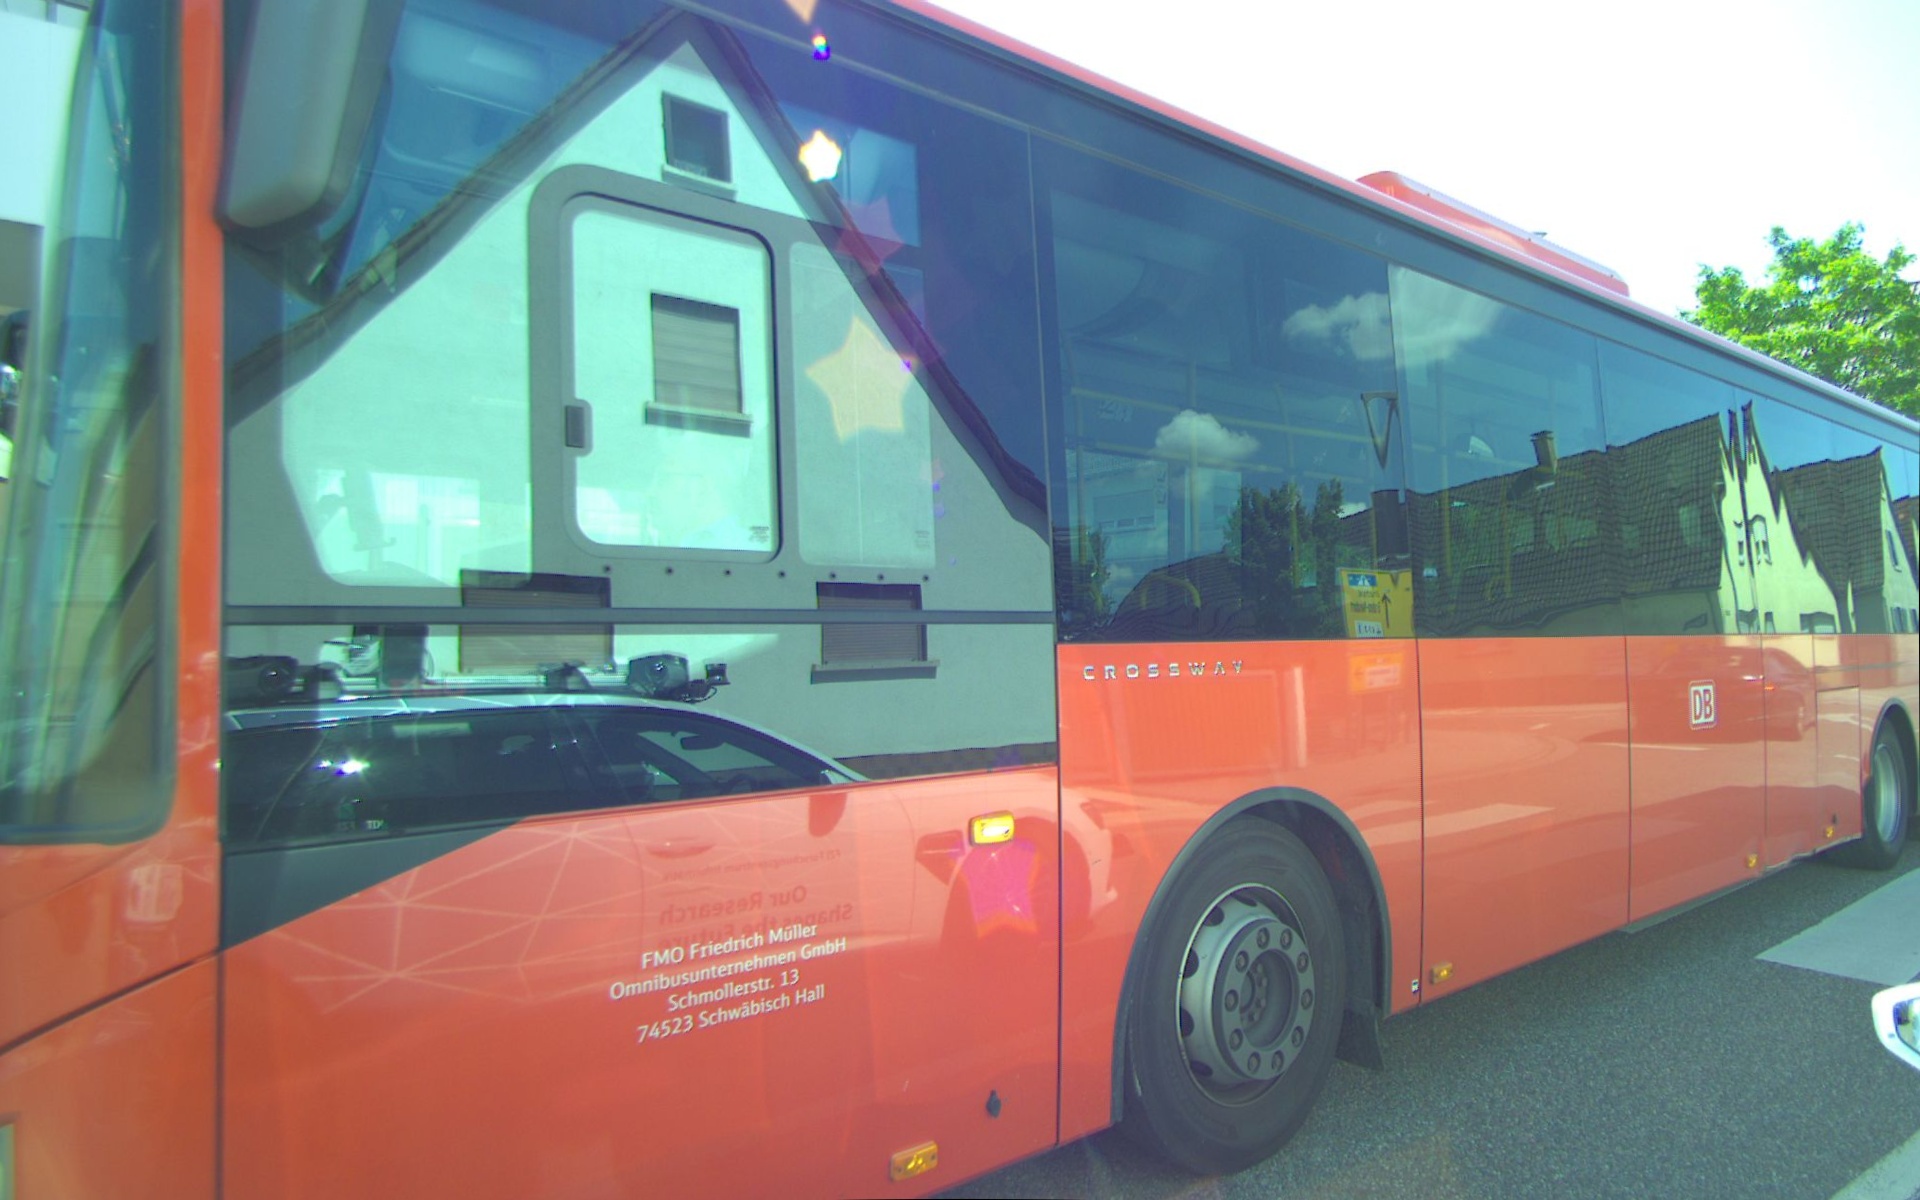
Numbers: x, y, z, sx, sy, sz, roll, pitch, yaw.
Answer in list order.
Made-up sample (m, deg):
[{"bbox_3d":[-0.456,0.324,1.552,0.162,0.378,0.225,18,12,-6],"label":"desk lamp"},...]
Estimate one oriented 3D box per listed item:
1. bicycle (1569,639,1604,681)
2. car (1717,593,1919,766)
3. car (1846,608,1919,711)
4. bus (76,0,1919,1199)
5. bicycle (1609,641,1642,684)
[{"bbox_3d":[16.851,1.604,27.014,0.395,1.017,1.970,-1,0,43],"label":"bicycle"},{"bbox_3d":[11.093,0.885,12.960,1.752,1.845,4.418,-3,-2,41],"label":"car"},{"bbox_3d":[18.032,0.992,16.798,4.460,1.732,1.869,-1,-2,29],"label":"car"},{"bbox_3d":[2.985,0.023,5.837,11.901,3.274,2.610,1,-4,-35],"label":"bus"},{"bbox_3d":[17.497,1.617,26.393,0.395,1.017,1.970,-1,0,43],"label":"bicycle"}]
